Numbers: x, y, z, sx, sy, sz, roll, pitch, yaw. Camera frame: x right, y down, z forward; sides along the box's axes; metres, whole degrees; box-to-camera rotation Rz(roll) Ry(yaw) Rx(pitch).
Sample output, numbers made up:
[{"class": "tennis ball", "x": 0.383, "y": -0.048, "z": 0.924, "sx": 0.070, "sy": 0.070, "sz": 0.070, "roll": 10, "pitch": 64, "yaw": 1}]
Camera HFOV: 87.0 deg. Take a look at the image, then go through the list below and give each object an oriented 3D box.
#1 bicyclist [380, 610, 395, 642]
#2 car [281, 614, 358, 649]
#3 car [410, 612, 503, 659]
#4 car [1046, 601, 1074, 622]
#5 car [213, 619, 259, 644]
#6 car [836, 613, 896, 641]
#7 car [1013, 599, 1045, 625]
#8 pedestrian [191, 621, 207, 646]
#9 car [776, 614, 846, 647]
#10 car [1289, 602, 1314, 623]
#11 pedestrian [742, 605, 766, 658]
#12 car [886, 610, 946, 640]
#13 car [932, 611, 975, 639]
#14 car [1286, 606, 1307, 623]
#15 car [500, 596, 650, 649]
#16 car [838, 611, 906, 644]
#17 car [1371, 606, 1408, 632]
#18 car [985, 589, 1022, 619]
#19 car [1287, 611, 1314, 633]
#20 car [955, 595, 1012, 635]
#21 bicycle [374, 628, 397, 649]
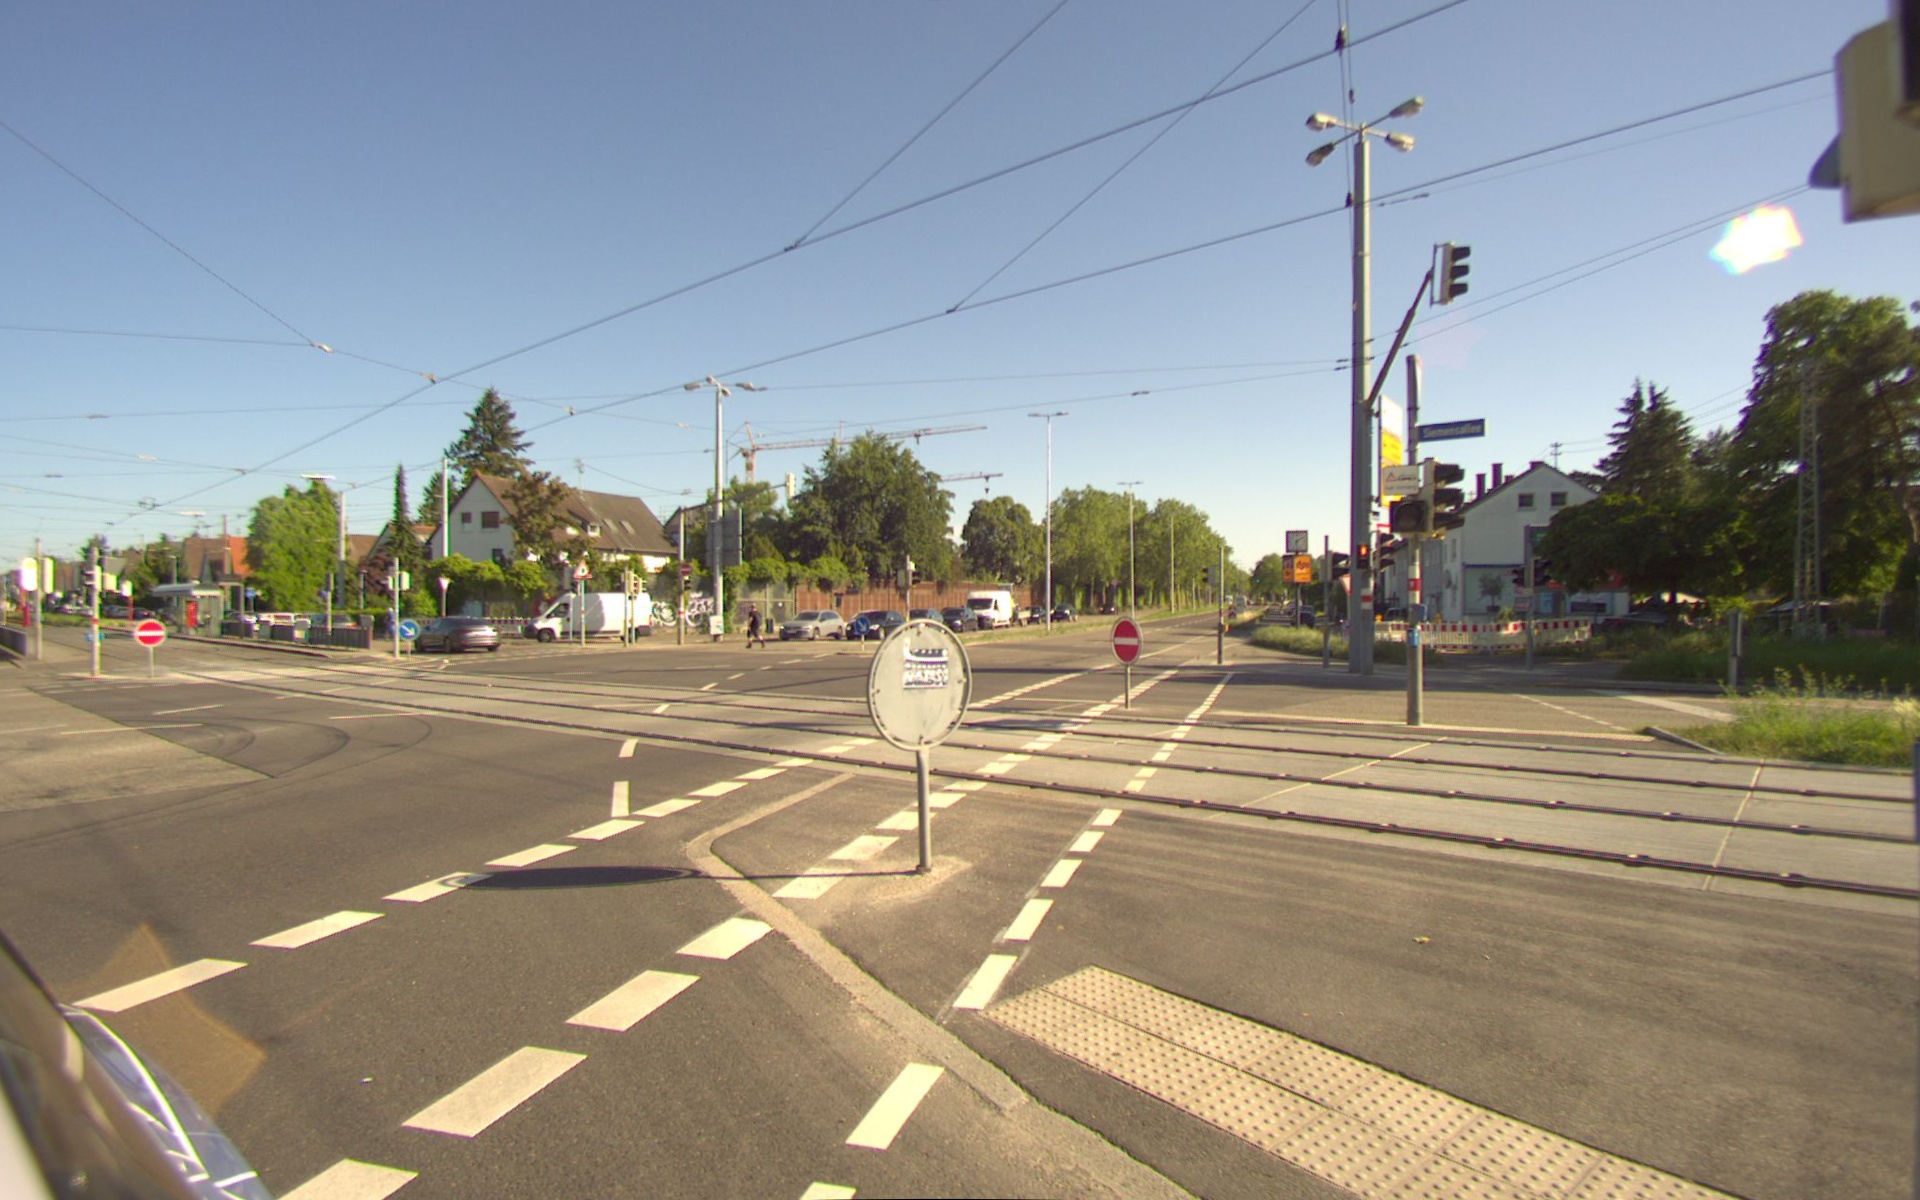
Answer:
[{"class": "bicyclist", "x": -29.312, "y": 1.308, "z": 51.836, "sx": 0.648, "sy": 1.620, "sz": 0.484, "roll": -1, "pitch": -1, "yaw": 43}, {"class": "car", "x": -31.185, "y": 1.494, "z": 49.211, "sx": 4.688, "sy": 1.608, "sz": 1.795, "roll": -1, "pitch": -1, "yaw": 39}, {"class": "car", "x": -19.250, "y": 1.305, "z": 38.630, "sx": 3.999, "sy": 1.700, "sz": 1.773, "roll": -1, "pitch": -1, "yaw": 41}, {"class": "car", "x": 8.618, "y": 0.996, "z": 86.787, "sx": 1.791, "sy": 1.755, "sz": 3.981, "roll": -1, "pitch": -1, "yaw": 14}, {"class": "car", "x": -45.369, "y": 1.960, "z": 63.422, "sx": 3.704, "sy": 1.469, "sz": 1.664, "roll": -1, "pitch": -1, "yaw": 43}, {"class": "car", "x": -5.205, "y": 1.496, "z": 56.721, "sx": 1.921, "sy": 1.477, "sz": 4.343, "roll": 0, "pitch": -1, "yaw": 16}, {"class": "car", "x": 5.400, "y": 0.936, "z": 78.806, "sx": 1.791, "sy": 2.029, "sz": 3.981, "roll": -1, "pitch": -1, "yaw": 14}, {"class": "pedestrian", "x": -43.561, "y": 1.907, "z": 57.909, "sx": 0.711, "sy": 1.425, "sz": 0.615, "roll": -2, "pitch": -1, "yaw": 42}, {"class": "car", "x": -7.133, "y": 1.436, "z": 48.966, "sx": 1.657, "sy": 1.488, "sz": 4.612, "roll": 0, "pitch": -1, "yaw": 15}, {"class": "car", "x": 30.541, "y": 1.103, "z": 90.602, "sx": 1.983, "sy": 1.775, "sz": 3.978, "roll": -1, "pitch": -1, "yaw": 17}, {"class": "pedestrian", "x": -7.825, "y": 1.186, "z": 38.476, "sx": 0.765, "sy": 1.963, "sz": 0.611, "roll": -1, "pitch": -1, "yaw": 0}, {"class": "car", "x": -2.258, "y": 1.312, "z": 53.395, "sx": 1.920, "sy": 1.477, "sz": 4.237, "roll": -2, "pitch": -1, "yaw": 16}, {"class": "car", "x": -0.333, "y": 1.437, "z": 58.576, "sx": 1.485, "sy": 1.579, "sz": 3.507, "roll": -1, "pitch": -1, "yaw": 18}, {"class": "car", "x": 37.015, "y": 1.565, "z": 111.399, "sx": 1.983, "sy": 1.775, "sz": 3.978, "roll": -1, "pitch": -1, "yaw": 17}, {"class": "car", "x": -18.998, "y": 1.062, "z": 50.008, "sx": 6.751, "sy": 2.476, "sz": 2.356, "roll": 0, "pitch": -1, "yaw": -26}, {"class": "car", "x": -4.130, "y": 1.295, "z": 48.176, "sx": 1.920, "sy": 1.477, "sz": 4.227, "roll": -1, "pitch": -1, "yaw": 15}, {"class": "car", "x": 30.213, "y": 1.339, "z": 71.279, "sx": 1.983, "sy": 1.775, "sz": 3.978, "roll": -1, "pitch": -1, "yaw": 17}, {"class": "car", "x": 3.066, "y": 0.273, "z": 70.894, "sx": 1.791, "sy": 2.029, "sz": 3.980, "roll": -1, "pitch": -1, "yaw": 15}, {"class": "car", "x": 28.945, "y": 1.830, "z": 86.108, "sx": 1.983, "sy": 1.775, "sz": 3.978, "roll": -1, "pitch": -1, "yaw": 17}, {"class": "car", "x": 1.583, "y": 0.941, "z": 65.049, "sx": 2.163, "sy": 2.429, "sz": 5.887, "roll": -1, "pitch": -1, "yaw": 18}, {"class": "bicycle", "x": -29.572, "y": 1.968, "z": 52.078, "sx": 1.949, "sy": 1.050, "sz": 0.501, "roll": -1, "pitch": -1, "yaw": 43}]
